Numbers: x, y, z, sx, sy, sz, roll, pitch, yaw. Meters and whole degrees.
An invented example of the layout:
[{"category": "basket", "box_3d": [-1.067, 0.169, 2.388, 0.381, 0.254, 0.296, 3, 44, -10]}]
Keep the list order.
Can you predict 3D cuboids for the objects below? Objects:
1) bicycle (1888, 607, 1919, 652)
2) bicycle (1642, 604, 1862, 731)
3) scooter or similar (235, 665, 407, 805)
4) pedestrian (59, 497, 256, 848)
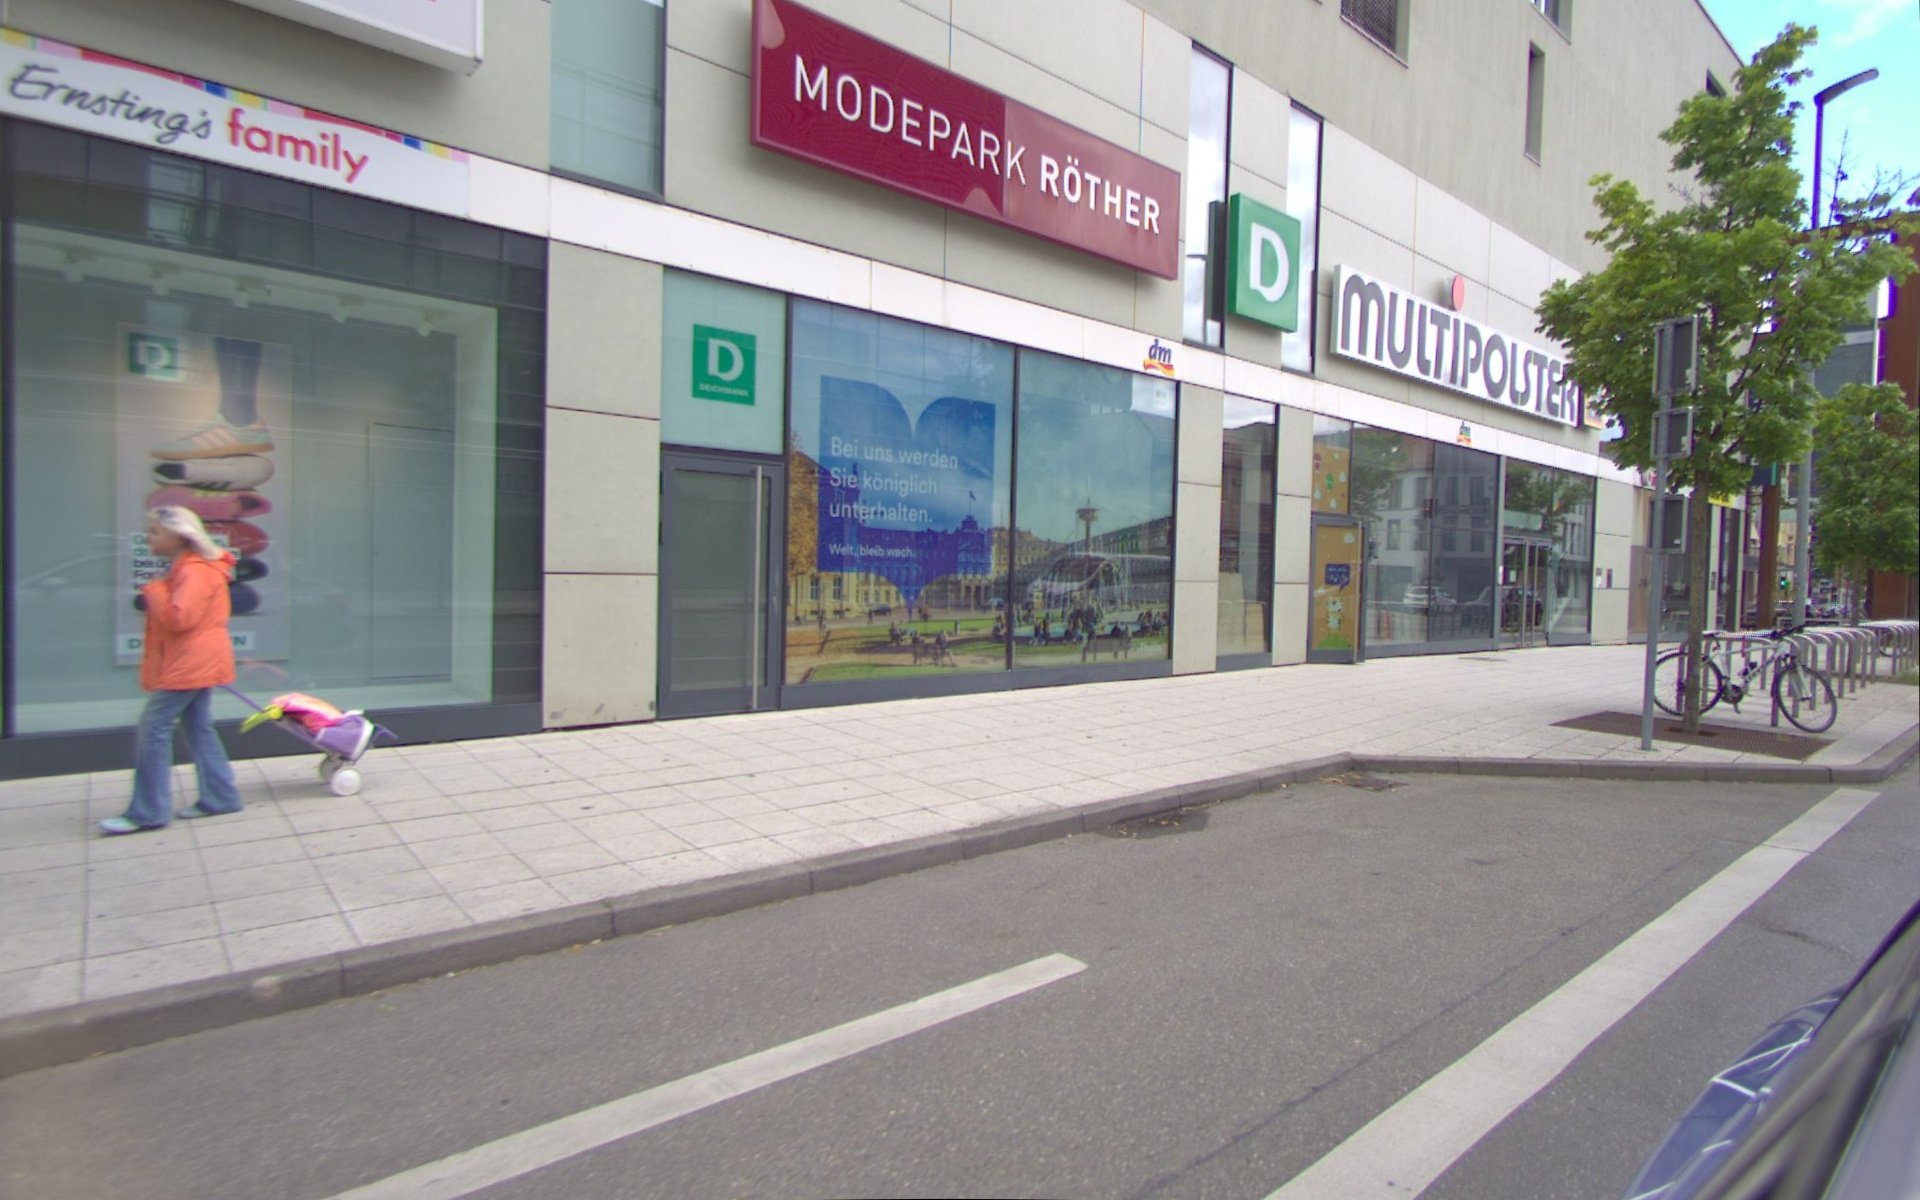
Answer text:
[{"category": "bicycle", "box_3d": [23.091, 0.728, 23.875, 1.740, 1.034, 0.445, 4, 3, 44]}, {"category": "bicycle", "box_3d": [8.347, 0.665, 10.727, 1.740, 1.113, 0.553, 6, 4, 43]}, {"category": "scooter or similar", "box_3d": [-3.628, 0.735, 5.753, 0.754, 0.642, 0.552, 0, 3, -41]}, {"category": "pedestrian", "box_3d": [-3.963, 0.311, 5.011, 0.719, 1.586, 0.590, 0, 3, -41]}]
